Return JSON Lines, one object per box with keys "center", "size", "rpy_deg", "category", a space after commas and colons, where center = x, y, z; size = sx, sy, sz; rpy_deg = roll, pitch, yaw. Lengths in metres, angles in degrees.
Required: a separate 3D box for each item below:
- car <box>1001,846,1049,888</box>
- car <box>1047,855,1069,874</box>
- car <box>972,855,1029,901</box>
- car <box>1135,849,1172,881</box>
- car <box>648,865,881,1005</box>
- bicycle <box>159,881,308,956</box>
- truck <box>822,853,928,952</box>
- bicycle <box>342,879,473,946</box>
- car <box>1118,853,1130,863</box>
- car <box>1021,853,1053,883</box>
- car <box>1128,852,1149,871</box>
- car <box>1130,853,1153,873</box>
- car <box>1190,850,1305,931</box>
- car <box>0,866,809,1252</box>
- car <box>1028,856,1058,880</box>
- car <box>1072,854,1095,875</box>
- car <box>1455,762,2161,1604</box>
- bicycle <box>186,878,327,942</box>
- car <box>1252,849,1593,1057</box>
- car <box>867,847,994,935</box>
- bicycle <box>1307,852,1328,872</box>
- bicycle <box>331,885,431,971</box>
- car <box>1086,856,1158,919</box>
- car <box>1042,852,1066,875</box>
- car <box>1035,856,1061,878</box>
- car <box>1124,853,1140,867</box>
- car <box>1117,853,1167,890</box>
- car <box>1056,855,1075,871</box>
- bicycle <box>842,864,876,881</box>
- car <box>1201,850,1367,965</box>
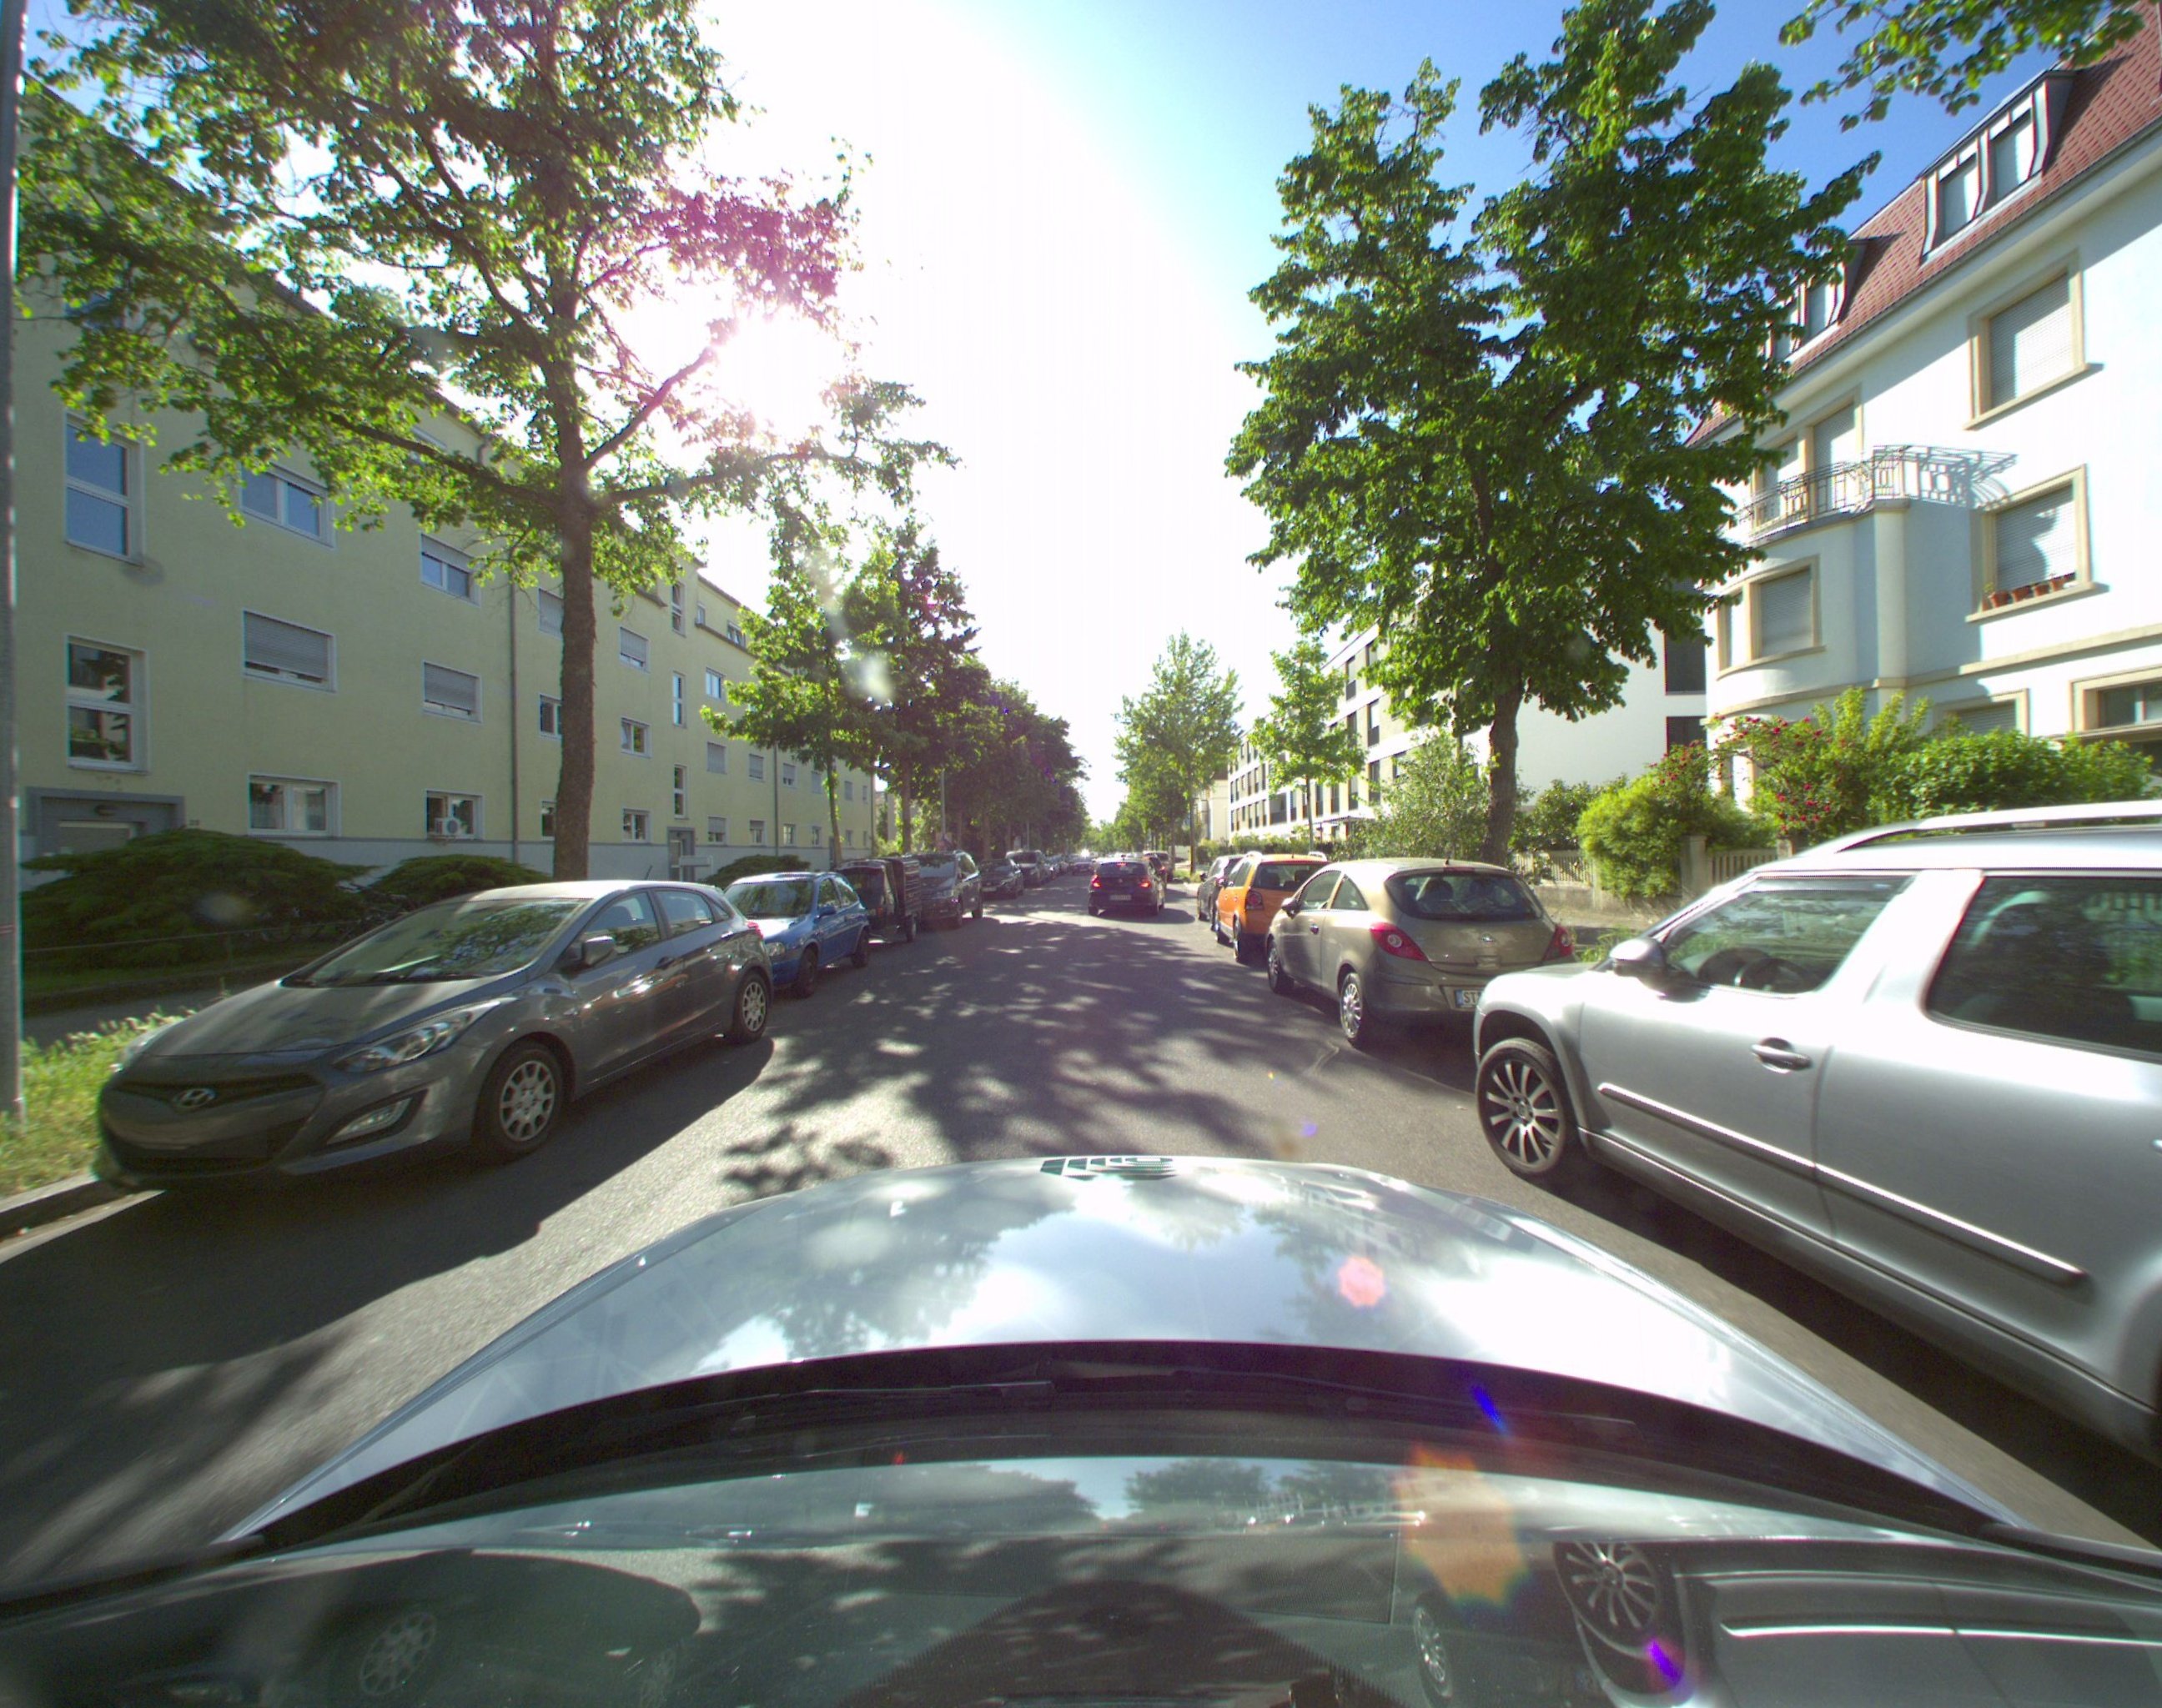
{"center": [-2.777, 0.617, 41.617], "size": [1.819, 1.904, 5.145], "rpy_deg": [-3, 0, 2], "category": "car"}
{"center": [-1.890, 0.854, 68.856], "size": [1.606, 1.452, 3.866], "rpy_deg": [-2, 0, 1], "category": "car"}
{"center": [-3.012, 0.862, 31.173], "size": [1.502, 1.548, 4.779], "rpy_deg": [-4, 0, 1], "category": "car"}
{"center": [3.923, 0.603, 44.659], "size": [1.840, 1.631, 4.414], "rpy_deg": [-1, -1, 3], "category": "car"}
{"center": [-3.839, 0.889, 10.565], "size": [1.515, 1.395, 3.726], "rpy_deg": [-2, 0, 0], "category": "car"}
{"center": [-12.923, 0.975, 12.436], "size": [1.831, 1.081, 0.487], "rpy_deg": [1, -1, 4], "category": "bicycle"}
{"center": [-3.612, 0.797, 14.588], "size": [1.079, 1.577, 2.434], "rpy_deg": [-2, 0, 4], "category": "truck"}
{"center": [-11.818, 1.020, 14.313], "size": [1.834, 1.081, 0.486], "rpy_deg": [-2, 0, -2], "category": "bicycle"}
{"center": [6.611, 0.569, 125.989], "size": [1.713, 1.480, 3.856], "rpy_deg": [-2, 0, 5], "category": "car"}
{"center": [-2.525, 0.766, 47.311], "size": [1.607, 1.611, 4.228], "rpy_deg": [-2, 0, -1], "category": "car"}
{"center": [4.944, 0.641, 70.790], "size": [1.714, 1.641, 3.854], "rpy_deg": [1, 0, 3], "category": "car"}
{"center": [4.796, 0.696, 64.782], "size": [1.714, 1.528, 4.003], "rpy_deg": [1, 0, 3], "category": "car"}
{"center": [3.393, 0.675, 17.271], "size": [1.694, 1.449, 4.084], "rpy_deg": [-2, 0, 2], "category": "car"}
{"center": [-3.742, 0.896, 5.717], "size": [1.784, 1.444, 4.692], "rpy_deg": [-3, 0, 3], "category": "car"}
{"center": [-2.395, 0.864, 52.619], "size": [1.606, 1.427, 4.058], "rpy_deg": [-2, 0, 1], "category": "car"}
{"center": [0.214, 0.751, 60.002], "size": [1.499, 1.426, 3.180], "rpy_deg": [-2, 0, 3], "category": "car"}
{"center": [2.910, 0.632, 2.525], "size": [1.644, 1.655, 3.844], "rpy_deg": [-1, 0, -2], "category": "car"}
{"center": [-14.459, 0.990, 14.315], "size": [1.835, 1.081, 0.486], "rpy_deg": [1, -4, -3], "category": "bicycle"}
{"center": [2.829, 0.707, 7.648], "size": [1.644, 1.428, 3.611], "rpy_deg": [-2, 0, 0], "category": "car"}
{"center": [-3.359, 0.753, 19.217], "size": [1.843, 1.680, 4.978], "rpy_deg": [-4, 0, 1], "category": "car"}
{"center": [12.491, 0.415, 43.101], "size": [0.544, 1.055, 1.691], "rpy_deg": [-2, 0, -1], "category": "bicycle"}
{"center": [-9.914, 1.000, 11.603], "size": [0.487, 1.081, 1.831], "rpy_deg": [1, -1, -22], "category": "bicycle"}
{"center": [1.002, 0.786, 20.764], "size": [1.643, 1.397, 3.412], "rpy_deg": [-2, 0, 1], "category": "car"}
{"center": [-2.069, 0.725, 63.154], "size": [1.606, 1.679, 4.235], "rpy_deg": [-2, 0, 1], "category": "car"}
{"center": [-2.305, 0.886, 57.714], "size": [1.606, 1.427, 3.726], "rpy_deg": [-2, 0, 1], "category": "car"}
{"center": [5.656, 0.696, 90.693], "size": [1.714, 1.480, 3.854], "rpy_deg": [1, 0, 3], "category": "car"}
{"center": [2.556, 0.698, 34.908], "size": [1.645, 1.425, 3.997], "rpy_deg": [-2, 0, -3], "category": "car"}
{"center": [-1.520, 0.861, 80.378], "size": [1.606, 1.543, 3.866], "rpy_deg": [-2, 0, 1], "category": "car"}
{"center": [-13.638, 1.132, 50.088], "size": [1.919, 0.991, 0.595], "rpy_deg": [-2, 0, -6], "category": "bicycle"}
{"center": [2.961, 0.691, 12.711], "size": [1.631, 1.454, 4.101], "rpy_deg": [-2, 0, 1], "category": "car"}
